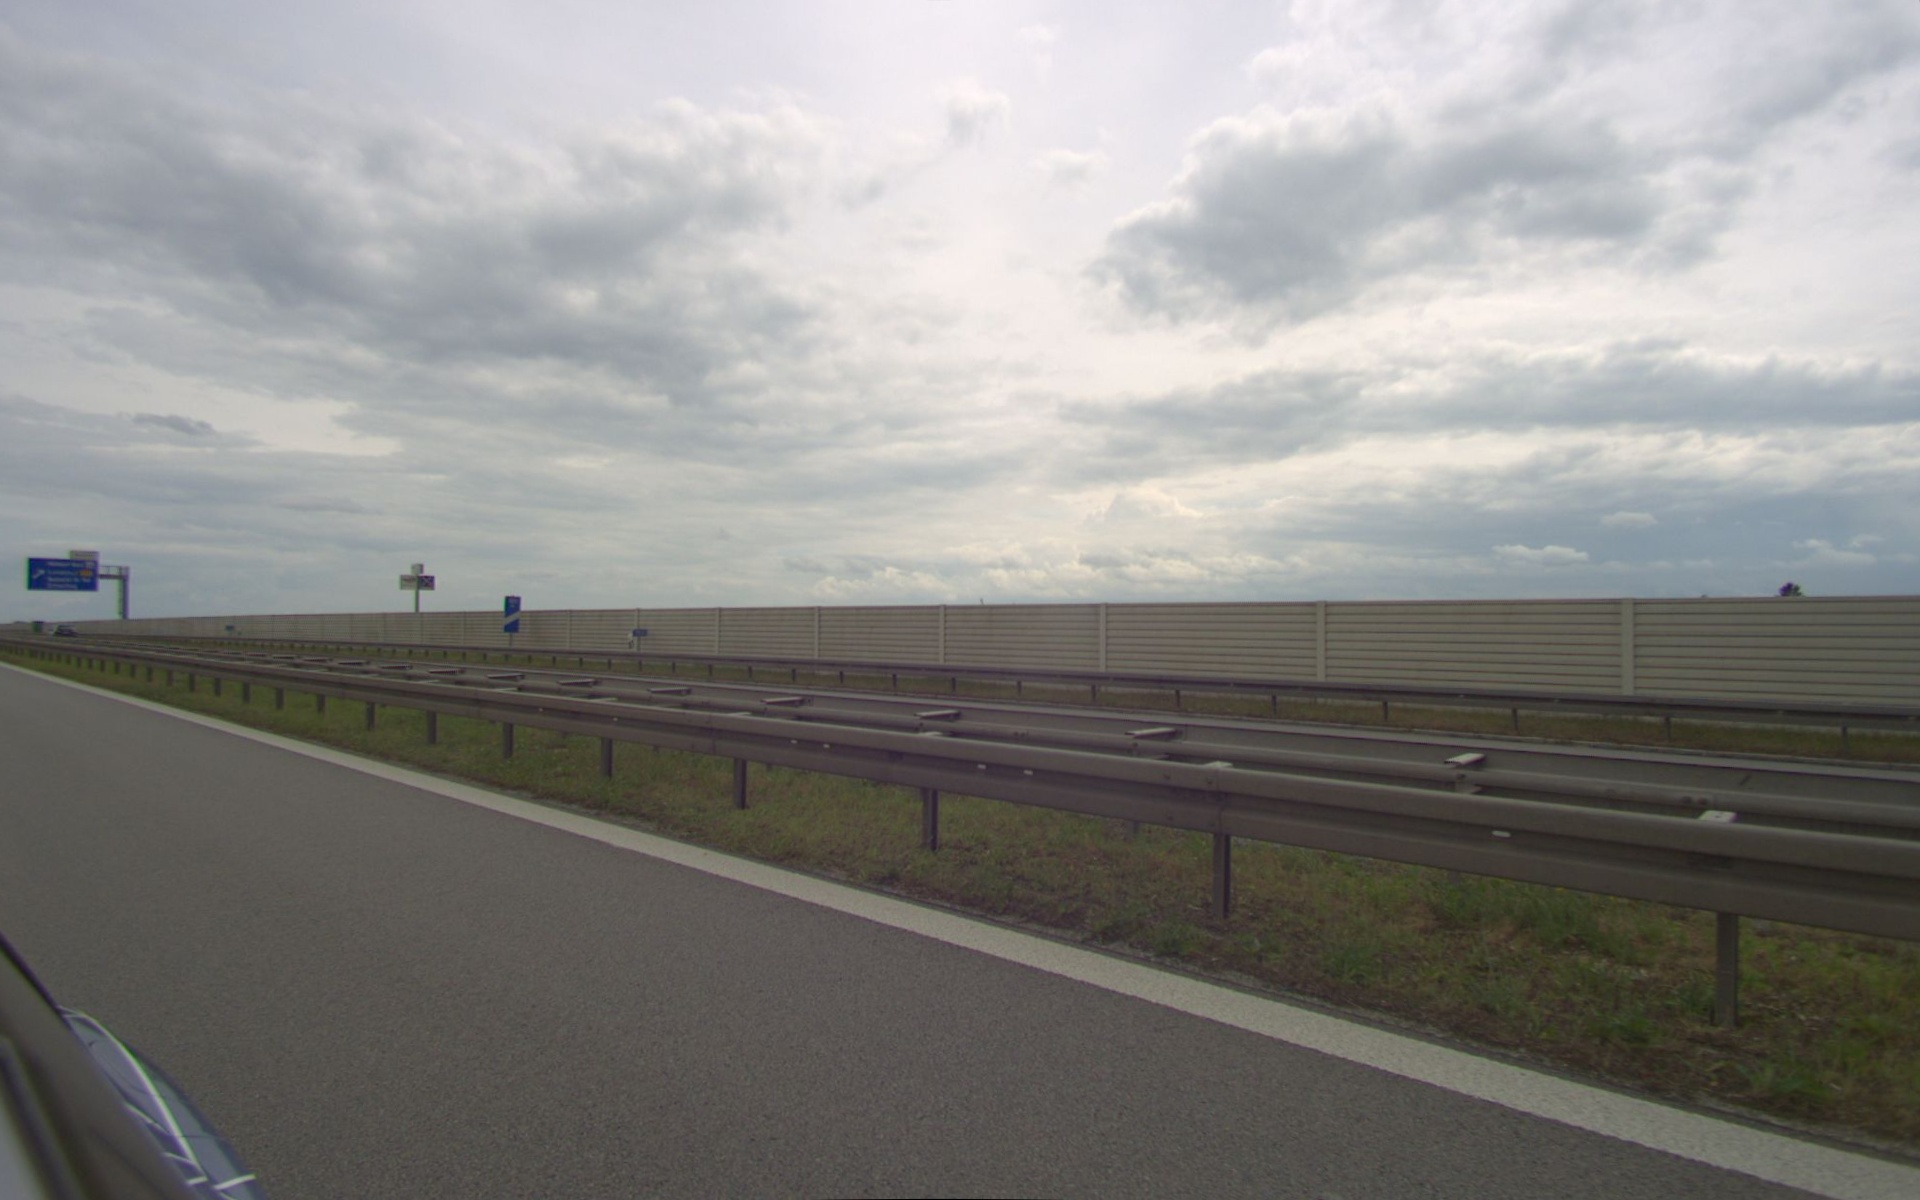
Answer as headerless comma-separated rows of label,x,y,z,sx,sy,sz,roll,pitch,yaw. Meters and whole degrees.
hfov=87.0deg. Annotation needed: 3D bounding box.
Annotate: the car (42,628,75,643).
car,-83.105,3.277,93.279,4.607,1.339,1.641,-1,-5,42
